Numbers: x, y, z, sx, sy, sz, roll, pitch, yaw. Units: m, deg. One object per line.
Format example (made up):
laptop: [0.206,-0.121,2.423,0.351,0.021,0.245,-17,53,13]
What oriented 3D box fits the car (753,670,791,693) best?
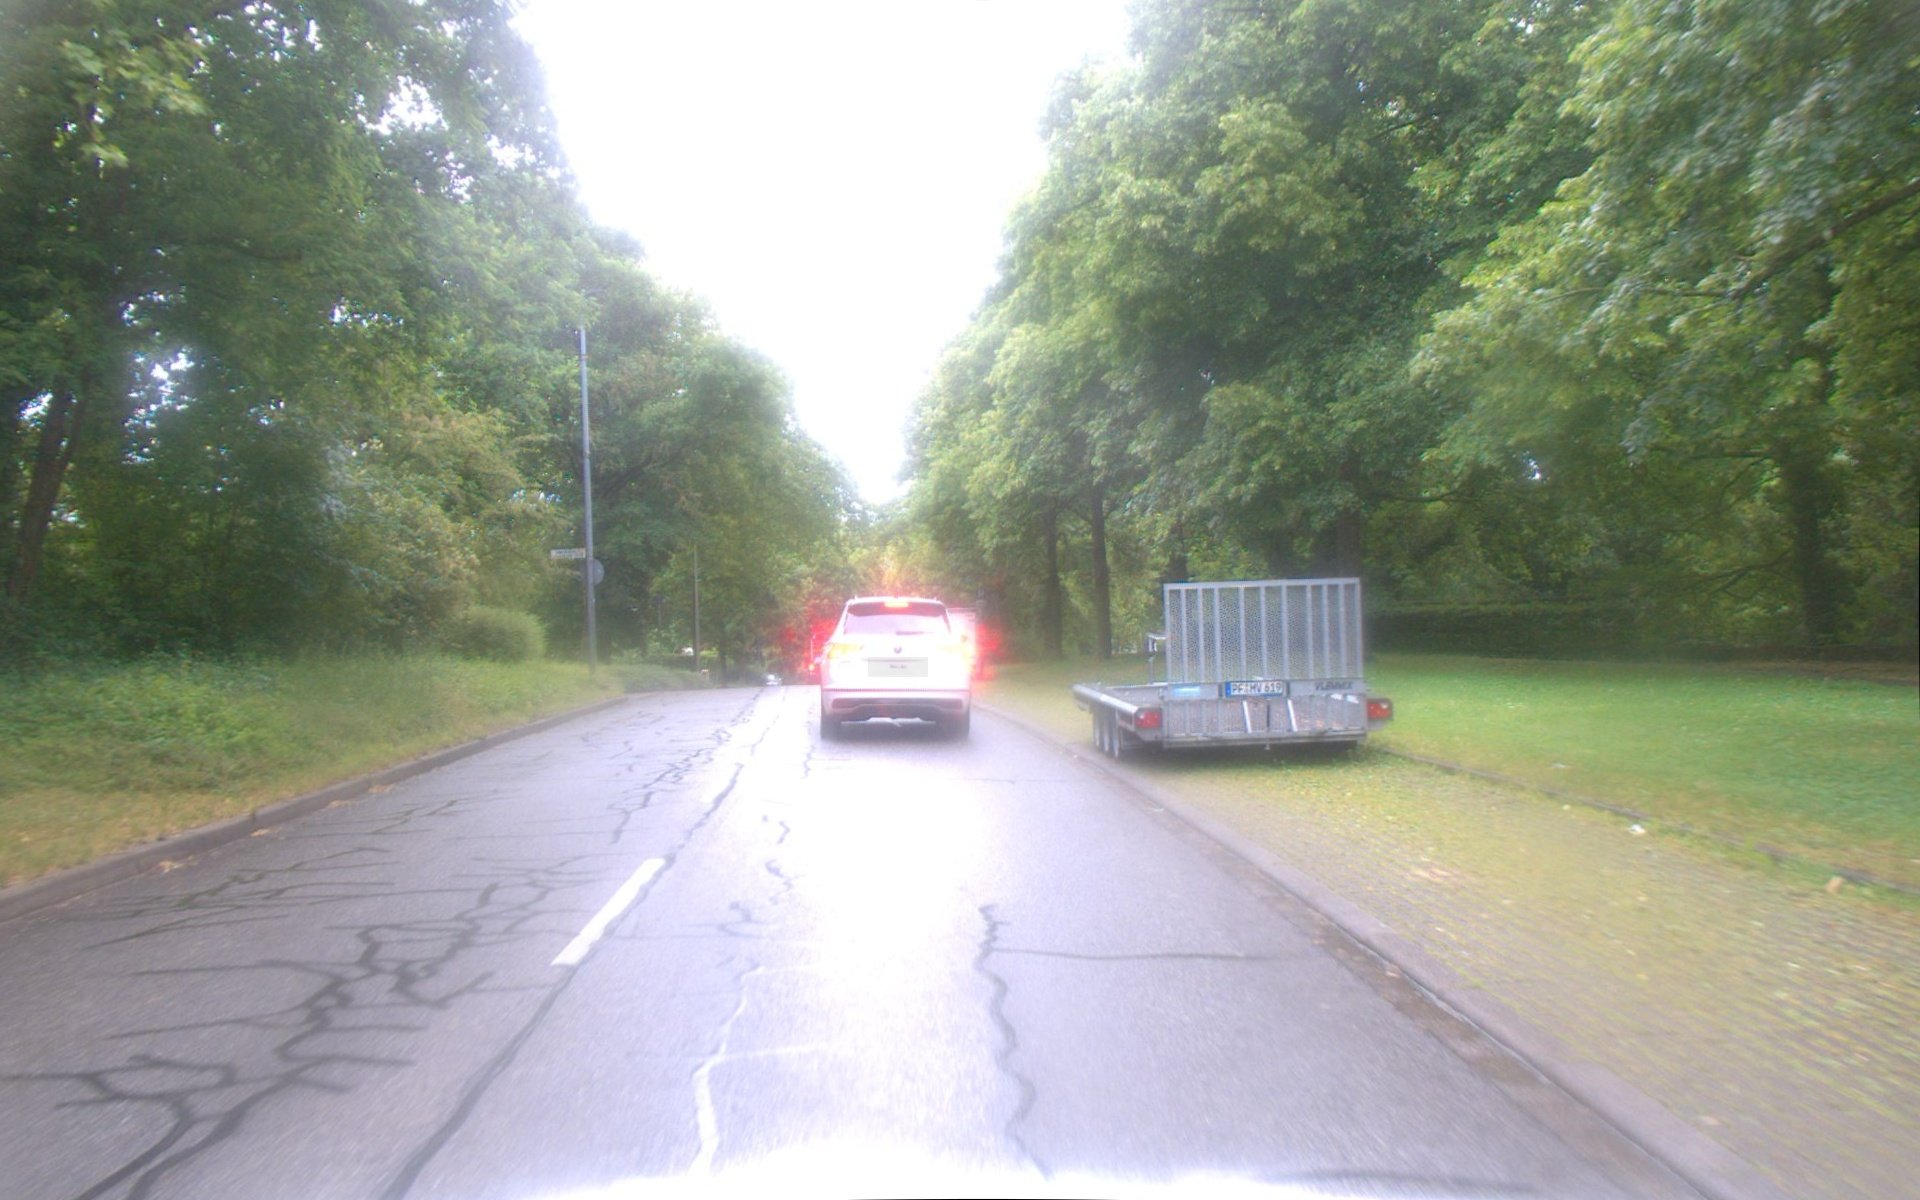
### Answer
car: [-13.729,5.963,120.906,1.951,1.627,4.012,-2,-3,6]

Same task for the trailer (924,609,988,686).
trailer: [-0.163,1.418,49.053,1.500,2.112,3.995,-2,-2,-5]

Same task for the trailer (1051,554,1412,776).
trailer: [2.544,0.620,17.386,2.401,1.844,5.886,-2,-1,-4]

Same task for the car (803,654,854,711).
car: [-5.729,3.558,71.799,1.956,2.048,3.994,-1,2,-8]

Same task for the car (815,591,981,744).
car: [-0.807,0.791,20.926,1.867,1.715,4.198,-1,-1,-3]

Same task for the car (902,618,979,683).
car: [-0.681,1.688,53.760,1.955,1.943,5.500,-1,-3,-6]
